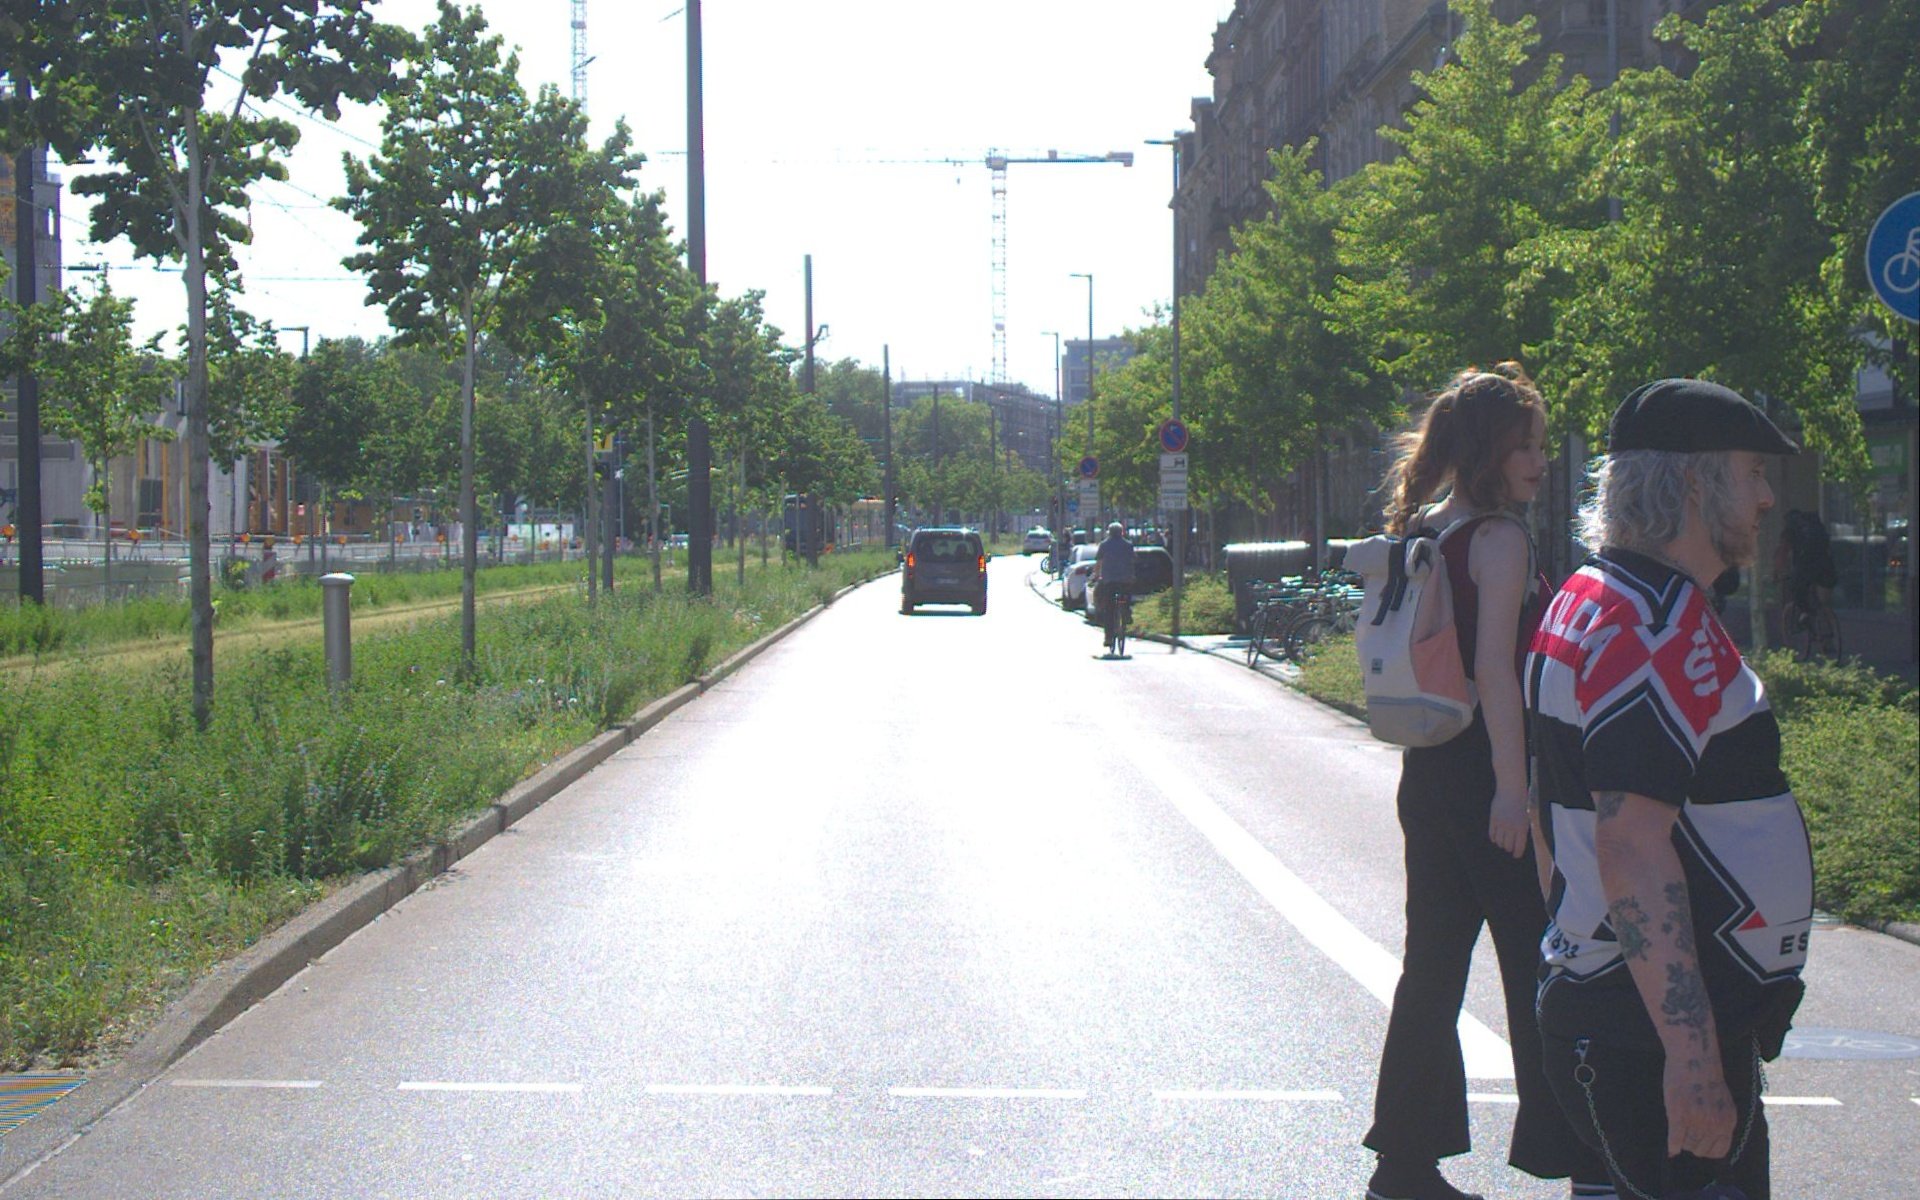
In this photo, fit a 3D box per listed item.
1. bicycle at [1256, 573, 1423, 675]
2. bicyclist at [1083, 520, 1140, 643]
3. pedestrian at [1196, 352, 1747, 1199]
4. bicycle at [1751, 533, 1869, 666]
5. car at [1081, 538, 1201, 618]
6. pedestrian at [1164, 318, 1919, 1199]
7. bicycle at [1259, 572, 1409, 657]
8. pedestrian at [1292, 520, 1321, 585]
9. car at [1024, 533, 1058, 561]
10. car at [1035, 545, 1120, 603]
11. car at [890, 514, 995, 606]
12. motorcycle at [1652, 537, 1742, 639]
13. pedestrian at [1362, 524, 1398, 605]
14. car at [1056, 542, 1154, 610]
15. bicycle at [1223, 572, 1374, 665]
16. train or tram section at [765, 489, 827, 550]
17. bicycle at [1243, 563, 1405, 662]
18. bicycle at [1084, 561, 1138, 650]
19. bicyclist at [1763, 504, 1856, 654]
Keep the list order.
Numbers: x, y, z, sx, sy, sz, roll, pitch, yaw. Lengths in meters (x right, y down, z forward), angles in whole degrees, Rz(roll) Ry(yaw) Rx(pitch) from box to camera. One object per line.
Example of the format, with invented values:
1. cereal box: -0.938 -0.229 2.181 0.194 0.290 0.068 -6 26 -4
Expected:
1. bicycle: 4.365 0.273 39.610 1.792 1.027 0.527 -5 1 0
2. bicyclist: 2.099 -0.262 47.741 0.684 1.667 0.922 2 1 -1
3. pedestrian: 1.125 0.414 7.697 1.075 1.902 0.653 -1 1 -7
4. bicycle: 9.012 -0.023 36.520 0.615 1.326 1.900 -5 1 -2
5. car: 3.501 -0.454 67.390 2.028 1.493 4.654 -1 1 -1
6. pedestrian: 0.779 0.565 4.435 0.865 1.782 0.971 1 1 -7
7. bicycle: 4.625 0.179 42.580 1.792 1.027 0.527 0 1 0
8. pedestrian: 8.610 -1.191 85.442 0.614 1.606 0.669 -1 1 -1
9. car: 5.121 -3.347 217.669 1.993 1.723 4.000 1 0 -1
10. car: 3.127 -0.708 92.313 2.028 1.493 4.530 -1 1 -1
11. car: -0.396 -0.881 75.005 2.200 1.919 4.654 -1 1 -1
12. motorcycle: 9.456 -0.169 44.168 0.700 1.263 1.982 -1 1 -1
13. pedestrian: 8.449 -0.720 69.203 0.614 1.606 0.669 -1 1 -1
14. car: 3.334 -0.576 79.784 2.028 1.493 4.530 -1 1 -1
15. bicycle: 4.321 0.234 43.956 1.792 1.027 0.527 -5 1 0
16. train or tram section: -7.856 -3.848 165.679 2.756 2.733 9.864 1 1 -2
17. bicycle: 4.336 0.148 40.982 1.792 1.027 0.527 -5 1 0
18. bicycle: 2.082 0.061 47.537 0.601 1.177 1.869 2 1 -1
19. bicyclist: 9.003 -0.227 36.456 0.660 1.525 0.801 -5 1 -2
